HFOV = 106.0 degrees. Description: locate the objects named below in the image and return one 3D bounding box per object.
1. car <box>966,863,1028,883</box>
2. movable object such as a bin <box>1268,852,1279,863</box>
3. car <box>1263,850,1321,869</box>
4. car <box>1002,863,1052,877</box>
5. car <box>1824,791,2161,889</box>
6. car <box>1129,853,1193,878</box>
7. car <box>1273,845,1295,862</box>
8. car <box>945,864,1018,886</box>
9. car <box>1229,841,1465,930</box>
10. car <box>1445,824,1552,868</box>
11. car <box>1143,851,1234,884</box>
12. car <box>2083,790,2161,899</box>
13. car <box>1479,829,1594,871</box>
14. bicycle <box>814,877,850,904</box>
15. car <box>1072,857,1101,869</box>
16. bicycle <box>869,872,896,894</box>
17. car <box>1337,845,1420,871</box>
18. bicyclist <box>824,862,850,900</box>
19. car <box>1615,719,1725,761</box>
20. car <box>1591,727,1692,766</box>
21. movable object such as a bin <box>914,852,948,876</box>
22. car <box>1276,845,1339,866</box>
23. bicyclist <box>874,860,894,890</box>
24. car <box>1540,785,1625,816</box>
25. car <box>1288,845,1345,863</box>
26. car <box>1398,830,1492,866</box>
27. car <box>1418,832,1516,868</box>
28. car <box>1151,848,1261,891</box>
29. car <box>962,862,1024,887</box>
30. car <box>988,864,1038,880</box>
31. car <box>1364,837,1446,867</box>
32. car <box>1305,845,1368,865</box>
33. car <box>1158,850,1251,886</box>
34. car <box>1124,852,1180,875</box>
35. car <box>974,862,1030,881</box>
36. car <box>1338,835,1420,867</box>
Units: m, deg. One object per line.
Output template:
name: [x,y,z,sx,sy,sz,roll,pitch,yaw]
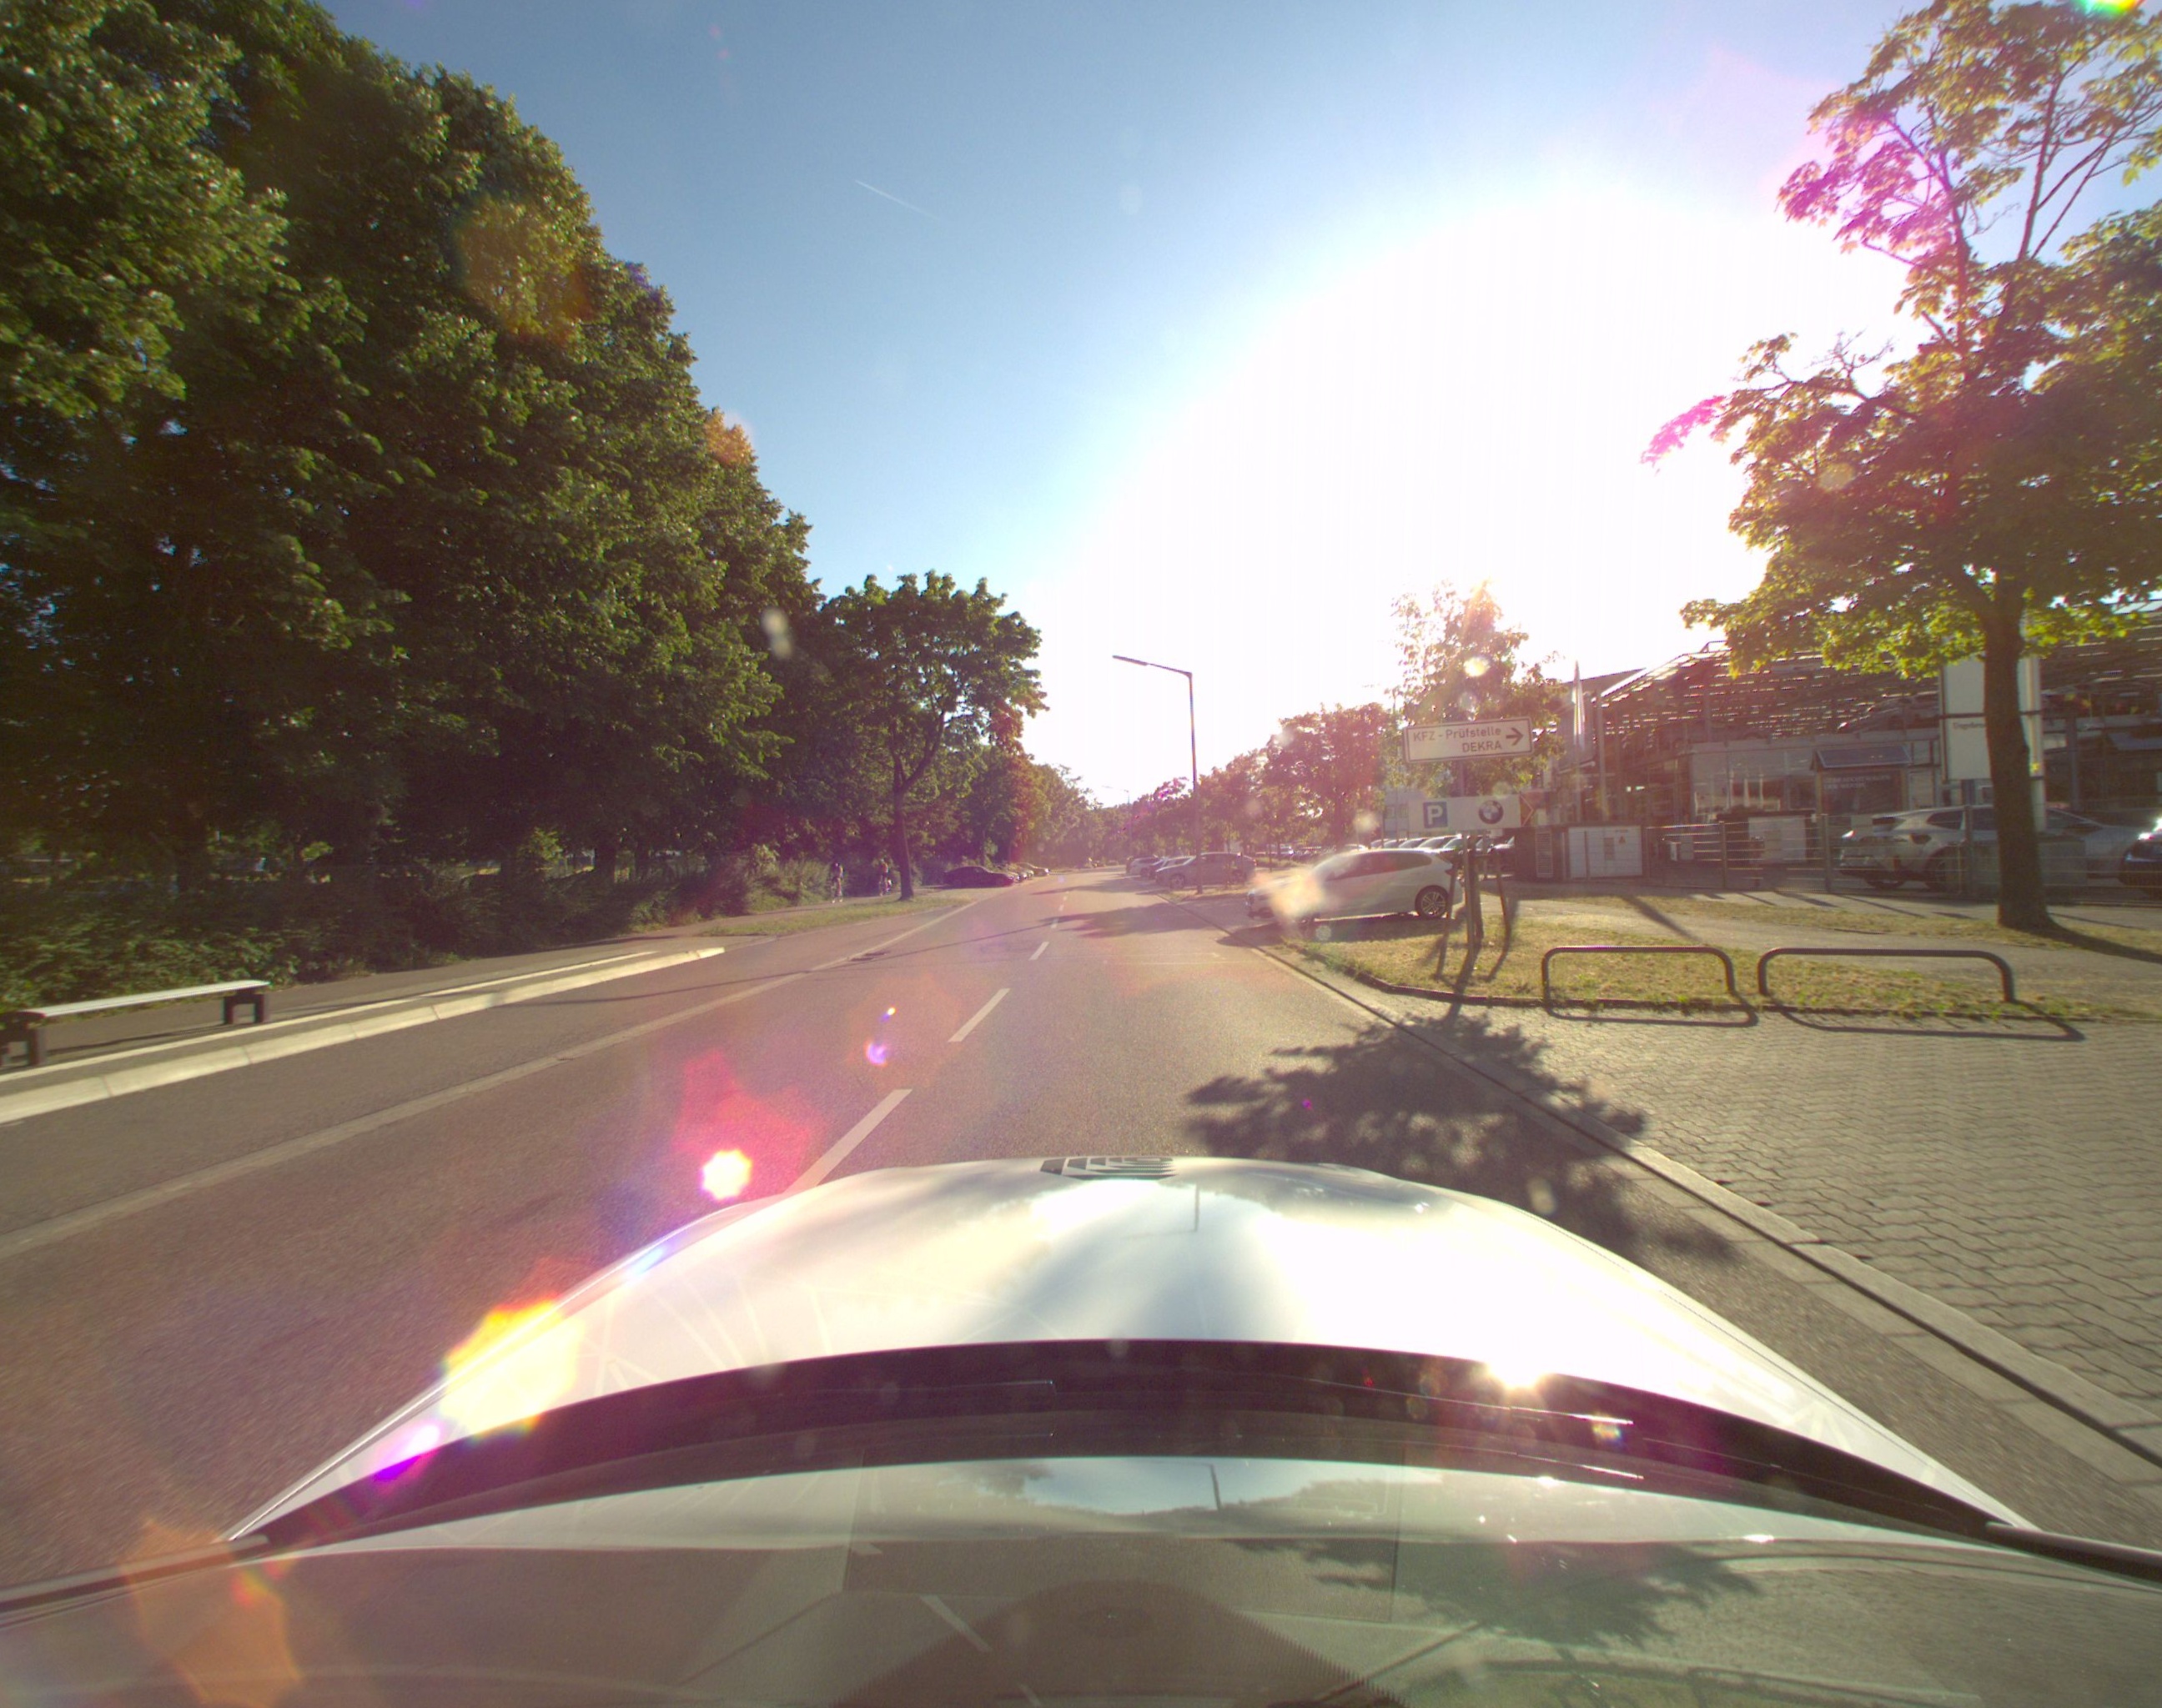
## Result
car: [-6.737,1.503,65.804,4.837,1.531,1.998,-1,0,-3]
movable object such as a bin: [22.905,0.400,96.932,1.111,1.268,1.040,-3,-1,8]
car: [19.420,0.503,75.081,4.728,1.464,2.012,-4,-1,42]
car: [-5.655,1.666,85.600,5.017,1.462,2.000,-1,0,1]
car: [17.549,-0.231,15.927,3.953,1.578,2.010,-3,-1,20]
car: [6.150,0.853,62.814,4.679,1.479,2.000,-4,2,0]
car: [23.087,-0.081,92.403,2.015,1.828,4.999,-3,0,17]
car: [-6.661,1.406,54.877,4.636,1.422,1.915,-1,0,-2]
car: [5.418,0.622,17.018,4.186,1.444,2.087,-4,-1,-1]
car: [19.429,-0.371,37.887,4.614,1.666,1.983,-4,-1,-26]
car: [5.759,0.724,44.064,4.609,1.456,2.000,-4,-1,0]
car: [17.602,-0.235,11.429,3.953,1.578,2.010,-3,-1,20]
car: [19.386,-0.180,34.660,4.613,1.666,1.983,-1,0,-25]
bicycle: [-10.511,1.518,34.456,0.763,1.039,2.218,-3,0,1]
car: [1.028,1.637,150.649,4.976,2.020,2.179,-3,-1,8]
bicycle: [-10.264,1.489,42.240,0.763,1.039,2.218,-3,-1,1]
car: [20.971,0.318,57.581,2.011,1.571,5.127,-2,-1,-43]
bicyclist: [-10.363,1.132,34.673,0.728,1.530,0.951,-3,-1,1]
car: [28.375,-5.462,39.357,3.958,1.666,1.794,0,0,14]
car: [28.820,-5.488,41.994,3.958,1.666,1.794,0,0,14]
movable object such as a bin: [-17.644,1.220,95.668,2.174,2.664,4.753,-2,-1,-34]
car: [18.970,0.133,68.353,2.011,1.464,4.730,-2,-1,-43]
bicyclist: [-10.212,1.069,42.298,0.728,1.530,0.951,-3,-1,1]
car: [29.899,-3.161,48.686,3.958,1.666,1.794,0,0,14]
car: [22.245,-0.006,76.992,4.728,1.464,2.059,-4,-1,42]
car: [19.476,-0.313,43.567,4.614,1.574,1.983,-4,-1,-26]
car: [19.409,-0.190,40.942,4.614,1.574,1.983,-3,-1,-26]
car: [5.601,0.704,37.001,4.579,1.584,1.998,-4,-1,-2]
car: [-6.515,1.512,60.666,4.270,1.531,2.001,-3,-1,2]
car: [-6.325,1.676,75.936,4.464,1.462,2.000,-1,0,1]
car: [19.759,-0.106,49.604,4.614,1.574,1.983,-2,-1,-26]
car: [21.851,0.124,69.815,4.728,1.464,2.012,-4,-1,42]
car: [6.220,0.681,41.294,4.361,1.479,2.000,-4,-1,0]
car: [6.164,0.827,70.416,4.672,1.751,2.195,-3,0,5]
car: [-6.579,1.480,68.327,4.464,1.531,2.000,-1,0,1]
car: [19.457,-0.197,53.194,4.739,1.690,2.390,-4,-1,-26]
